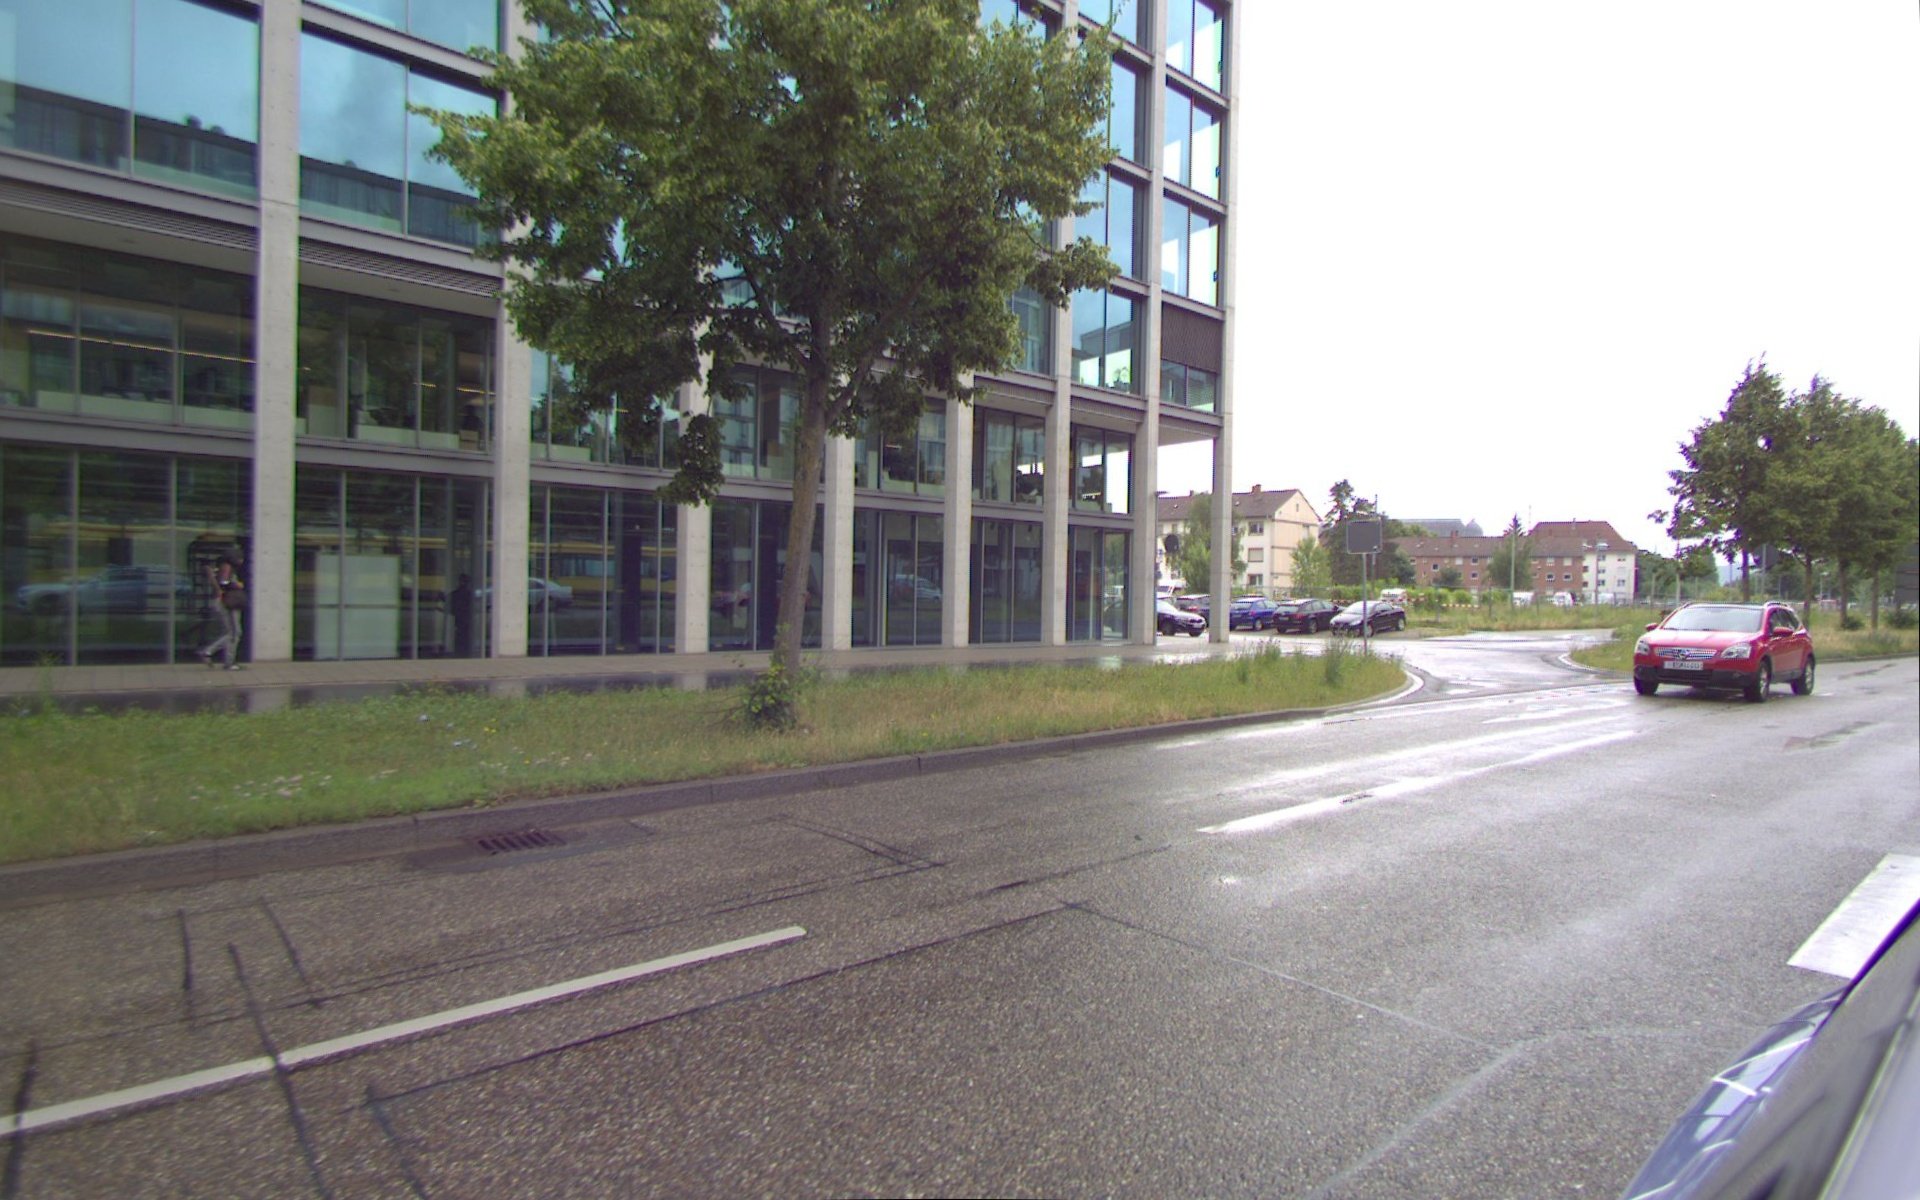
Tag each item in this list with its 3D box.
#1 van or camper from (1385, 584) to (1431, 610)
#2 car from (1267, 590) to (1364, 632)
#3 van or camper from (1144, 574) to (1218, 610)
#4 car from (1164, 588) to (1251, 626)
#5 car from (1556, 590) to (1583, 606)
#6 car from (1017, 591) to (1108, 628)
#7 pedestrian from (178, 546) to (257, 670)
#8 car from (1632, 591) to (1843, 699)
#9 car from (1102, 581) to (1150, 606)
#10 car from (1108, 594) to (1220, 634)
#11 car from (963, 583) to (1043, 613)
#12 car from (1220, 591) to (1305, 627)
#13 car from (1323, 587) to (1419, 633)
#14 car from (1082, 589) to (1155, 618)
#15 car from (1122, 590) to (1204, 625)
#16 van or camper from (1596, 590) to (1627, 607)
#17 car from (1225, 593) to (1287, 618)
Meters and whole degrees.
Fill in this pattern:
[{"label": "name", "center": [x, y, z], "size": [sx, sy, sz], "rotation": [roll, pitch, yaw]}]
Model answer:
[{"label": "van or camper", "center": [48.376, -0.320, 109.152], "size": [6.289, 2.723, 2.311], "rotation": [0, 1, -43]}, {"label": "car", "center": [15.992, 0.435, 45.437], "size": [4.474, 1.472, 1.861], "rotation": [-5, 4, -35]}, {"label": "van or camper", "center": [19.589, -0.679, 89.549], "size": [6.658, 3.031, 2.912], "rotation": [0, 1, -41]}, {"label": "car", "center": [12.413, 0.306, 50.700], "size": [4.334, 1.621, 1.861], "rotation": [-4, 3, -35]}, {"label": "car", "center": [89.732, -0.332, 148.955], "size": [4.682, 2.248, 2.273], "rotation": [1, 0, -45]}, {"label": "car", "center": [4.589, 0.422, 45.826], "size": [1.826, 1.507, 3.999], "rotation": [3, -1, -36]}, {"label": "pedestrian", "center": [-10.878, 0.099, 14.827], "size": [0.846, 1.736, 0.718], "rotation": [1, 2, -41]}, {"label": "car", "center": [13.433, 0.689, 17.422], "size": [4.166, 1.632, 1.800], "rotation": [0, 1, -37]}, {"label": "car", "center": [13.836, -0.557, 84.191], "size": [4.090, 2.030, 1.700], "rotation": [0, 1, -40]}, {"label": "car", "center": [8.208, 0.550, 40.994], "size": [1.943, 1.456, 4.232], "rotation": [3, -1, -35]}, {"label": "car", "center": [2.056, -0.111, 49.613], "size": [1.825, 1.390, 4.000], "rotation": [2, 0, -35]}, {"label": "car", "center": [14.416, 0.411, 48.164], "size": [3.926, 1.472, 1.861], "rotation": [-3, 2, -35]}, {"label": "car", "center": [17.610, 0.405, 43.287], "size": [3.925, 1.599, 1.862], "rotation": [-5, 3, -33]}, {"label": "car", "center": [9.043, 0.187, 57.663], "size": [3.924, 1.622, 1.861], "rotation": [0, 0, -36]}, {"label": "car", "center": [10.563, 0.358, 52.618], "size": [4.152, 1.492, 1.791], "rotation": [-4, 3, -35]}, {"label": "van or camper", "center": [90.900, -0.194, 141.158], "size": [6.045, 2.337, 2.204], "rotation": [0, -1, -43]}, {"label": "car", "center": [20.052, 0.388, 68.531], "size": [4.152, 1.621, 1.861], "rotation": [0, 0, -36]}]
